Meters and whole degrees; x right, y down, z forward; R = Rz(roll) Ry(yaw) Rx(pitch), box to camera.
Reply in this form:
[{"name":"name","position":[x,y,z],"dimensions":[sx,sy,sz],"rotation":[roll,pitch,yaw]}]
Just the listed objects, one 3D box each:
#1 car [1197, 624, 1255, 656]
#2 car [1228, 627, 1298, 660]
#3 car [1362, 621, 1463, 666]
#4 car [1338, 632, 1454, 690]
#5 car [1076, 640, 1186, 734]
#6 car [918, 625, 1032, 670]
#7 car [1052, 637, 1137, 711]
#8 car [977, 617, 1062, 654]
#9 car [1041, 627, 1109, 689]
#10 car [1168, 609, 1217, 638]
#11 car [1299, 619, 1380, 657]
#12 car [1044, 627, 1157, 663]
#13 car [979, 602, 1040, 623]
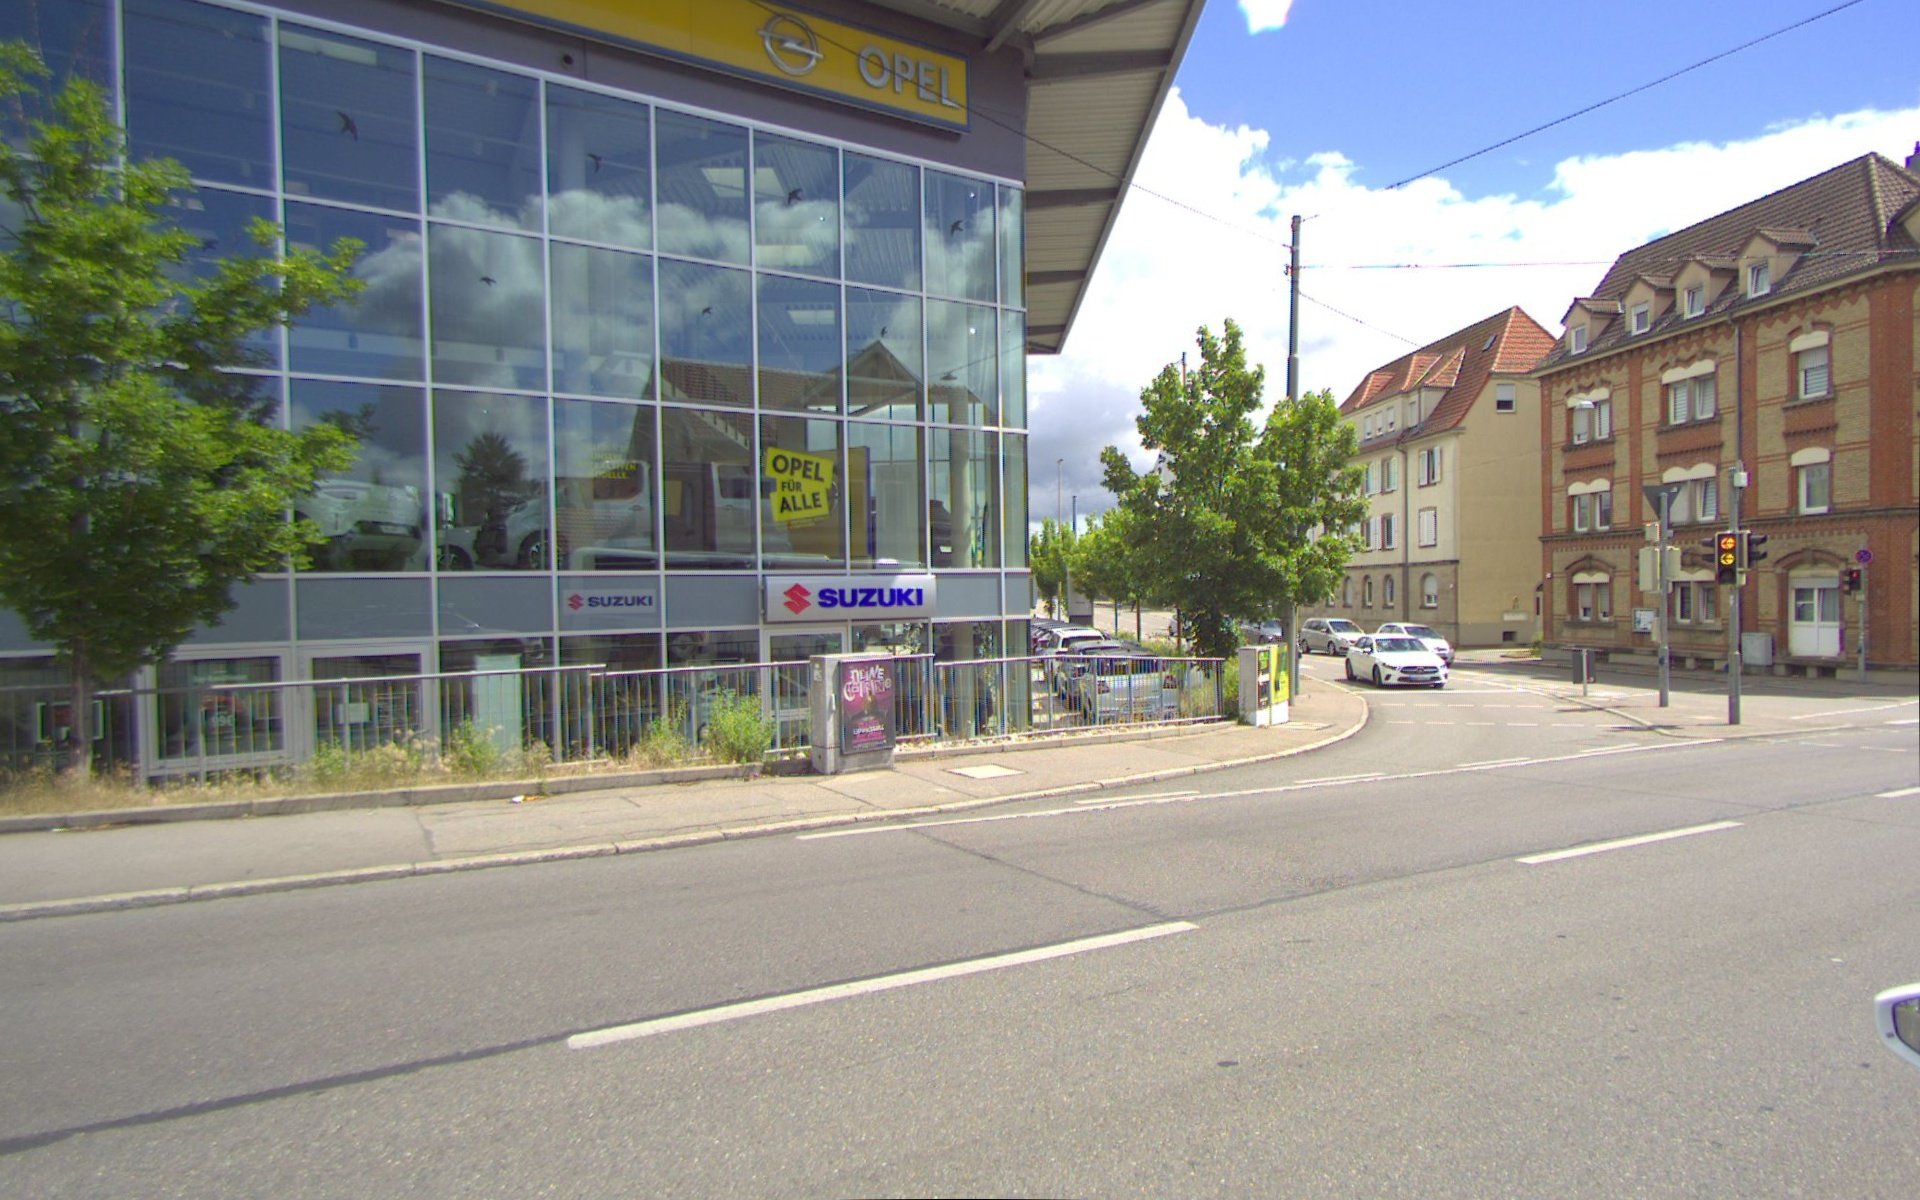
[{"name":"car","position":[14.833,2.200,56.293],"dimensions":[1.961,1.607,4.345],"rotation":[1,0,-2]},{"name":"car","position":[15.338,2.188,51.018],"dimensions":[1.963,1.539,3.996],"rotation":[1,-1,-7]},{"name":"car","position":[17.064,1.612,38.086],"dimensions":[1.670,1.517,3.995],"rotation":[1,-1,-7]},{"name":"car","position":[12.367,1.687,28.774],"dimensions":[1.825,1.466,4.394],"rotation":[1,-1,6]},{"name":"car","position":[3.391,1.691,20.553],"dimensions":[1.720,1.596,3.687],"rotation":[2,-1,3]},{"name":"car","position":[0.585,1.731,37.208],"dimensions":[3.919,1.478,1.605],"rotation":[1,-1,15]},{"name":"car","position":[3.227,1.756,24.702],"dimensions":[1.487,1.543,3.792],"rotation":[1,-1,-2]},{"name":"car","position":[2.651,1.587,45.871],"dimensions":[1.974,1.599,4.476],"rotation":[1,-1,-26]},{"name":"car","position":[3.278,1.635,29.096],"dimensions":[1.487,1.596,3.414],"rotation":[1,-1,-2]},{"name":"car","position":[14.687,1.468,63.569],"dimensions":[1.908,1.743,3.998],"rotation":[1,-1,-4]},{"name":"car","position":[16.739,1.645,44.511],"dimensions":[1.715,1.539,3.996],"rotation":[1,-1,-7]},{"name":"car","position":[5.167,1.635,37.212],"dimensions":[3.921,1.202,1.818],"rotation":[1,-1,0]},{"name":"car","position":[3.276,0.822,66.554],"dimensions":[3.921,1.311,1.818],"rotation":[1,-1,0]}]
